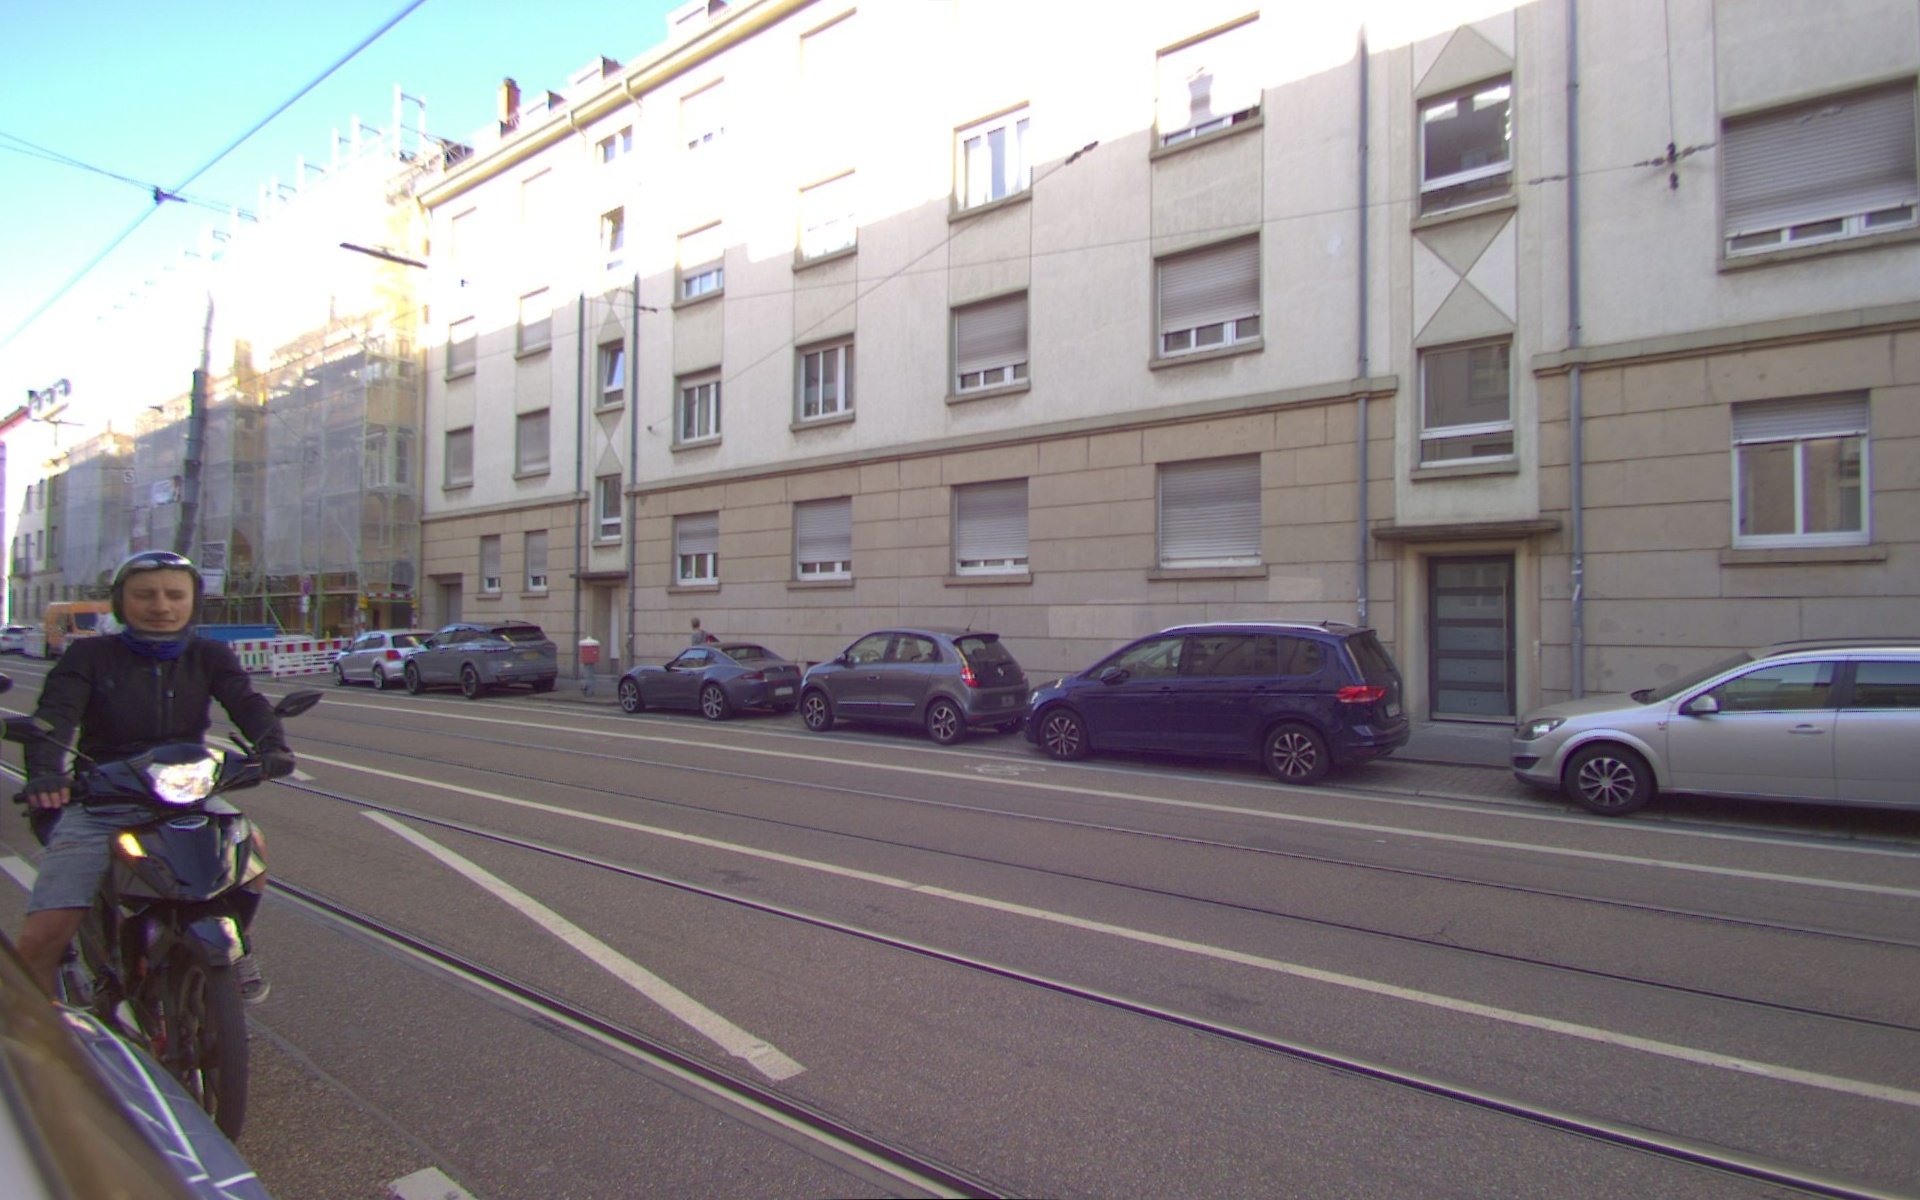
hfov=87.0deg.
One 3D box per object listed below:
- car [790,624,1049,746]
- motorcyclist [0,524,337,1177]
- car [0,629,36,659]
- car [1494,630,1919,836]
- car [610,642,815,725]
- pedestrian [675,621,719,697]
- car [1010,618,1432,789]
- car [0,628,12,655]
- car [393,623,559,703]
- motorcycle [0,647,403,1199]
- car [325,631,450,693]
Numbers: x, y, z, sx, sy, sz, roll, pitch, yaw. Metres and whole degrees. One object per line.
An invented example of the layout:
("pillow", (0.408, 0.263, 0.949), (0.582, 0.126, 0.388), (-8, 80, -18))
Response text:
("car", (-0.646, 1.137, 14.663), (3.535, 1.539, 1.659), (-1, -2, 38))
("motorcyclist", (-2.561, 0.657, 3.168), (0.899, 1.668, 0.781), (-2, -3, 41))
("car", (-50.083, 2.278, 53.350), (3.964, 1.498, 1.662), (-2, -1, 42))
("car", (7.108, 1.006, 8.510), (4.383, 1.489, 1.779), (-1, -1, 38))
("car", (-4.332, 1.370, 17.509), (3.681, 1.244, 1.502), (-1, -1, 38))
("pedestrian", (-5.474, 1.220, 21.073), (0.693, 1.553, 0.563), (-2, -3, 39))
("car", (2.874, 1.036, 11.684), (4.383, 1.611, 1.779), (-1, -1, 38))
("car", (-54.599, 2.334, 56.826), (3.964, 1.498, 1.662), (-2, -1, 42))
("car", (-10.901, 1.339, 22.668), (4.201, 1.611, 1.675), (-1, -2, 38))
("motorcycle", (-2.657, 0.818, 3.245), (2.272, 1.302, 0.781), (-2, -3, 41))
("car", (-14.402, 1.503, 25.405), (3.506, 1.423, 1.524), (-1, -2, 38))
